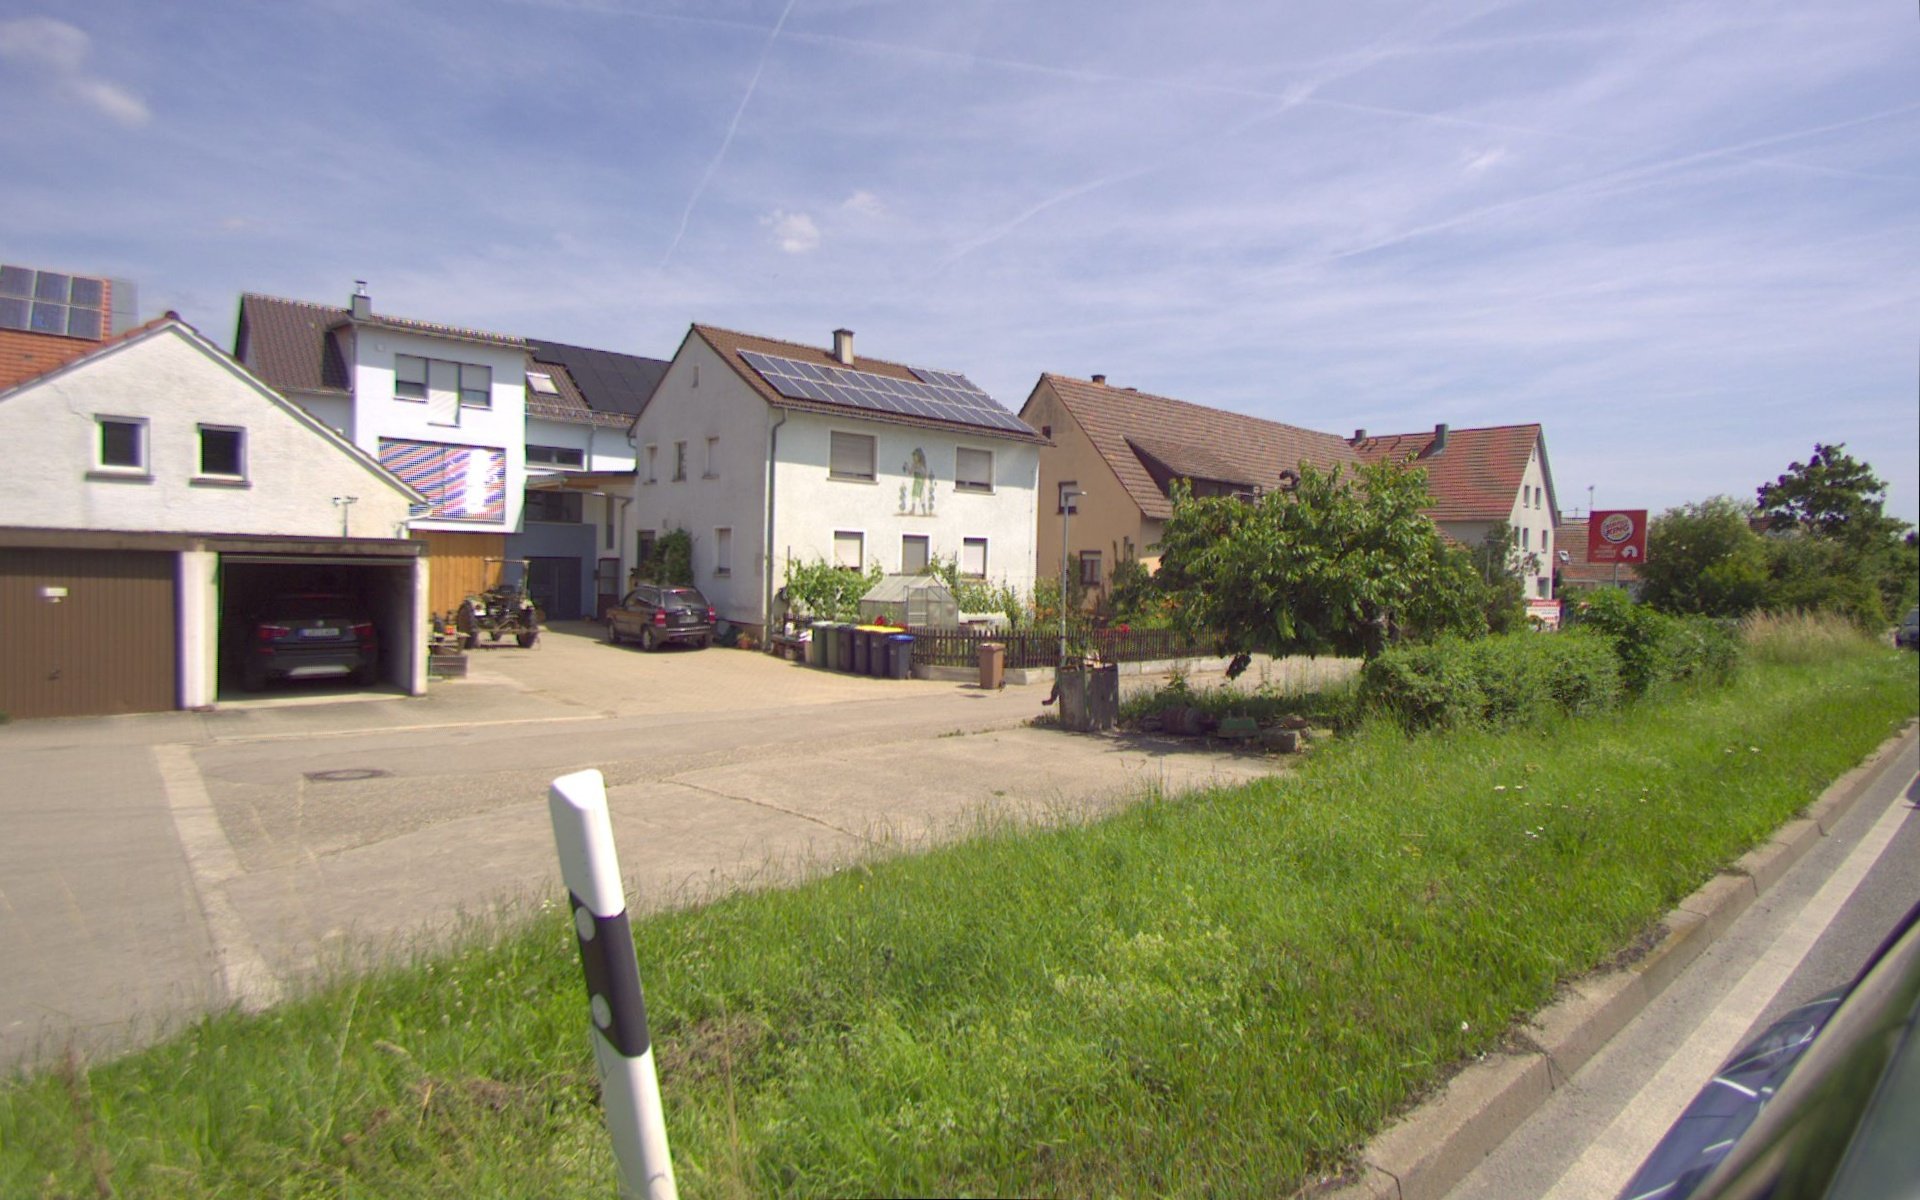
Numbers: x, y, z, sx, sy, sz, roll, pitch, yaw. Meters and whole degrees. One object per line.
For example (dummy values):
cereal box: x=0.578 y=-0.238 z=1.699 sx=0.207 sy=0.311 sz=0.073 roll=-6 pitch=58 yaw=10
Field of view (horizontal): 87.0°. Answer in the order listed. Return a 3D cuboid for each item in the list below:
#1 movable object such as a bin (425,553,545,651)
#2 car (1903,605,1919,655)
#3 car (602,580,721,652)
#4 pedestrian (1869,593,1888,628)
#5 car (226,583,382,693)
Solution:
movable object such as a bin: x=-12.502 y=-0.006 z=26.523 sx=2.041 sy=2.372 sz=3.719 roll=2 pitch=1 yaw=-38
car: x=30.945 y=0.902 z=31.810 sx=3.493 sy=1.504 sz=1.633 roll=0 pitch=-2 yaw=-43
car: x=-8.273 y=0.365 z=27.850 sx=1.810 sy=1.714 sz=3.959 roll=-1 pitch=3 yaw=-38
pedestrian: x=42.430 y=0.471 z=46.750 sx=0.517 sy=1.568 sz=0.557 roll=1 pitch=1 yaw=30
car: x=-11.457 y=0.543 z=17.556 sx=1.802 sy=1.597 sz=3.996 roll=-1 pitch=2 yaw=-40
